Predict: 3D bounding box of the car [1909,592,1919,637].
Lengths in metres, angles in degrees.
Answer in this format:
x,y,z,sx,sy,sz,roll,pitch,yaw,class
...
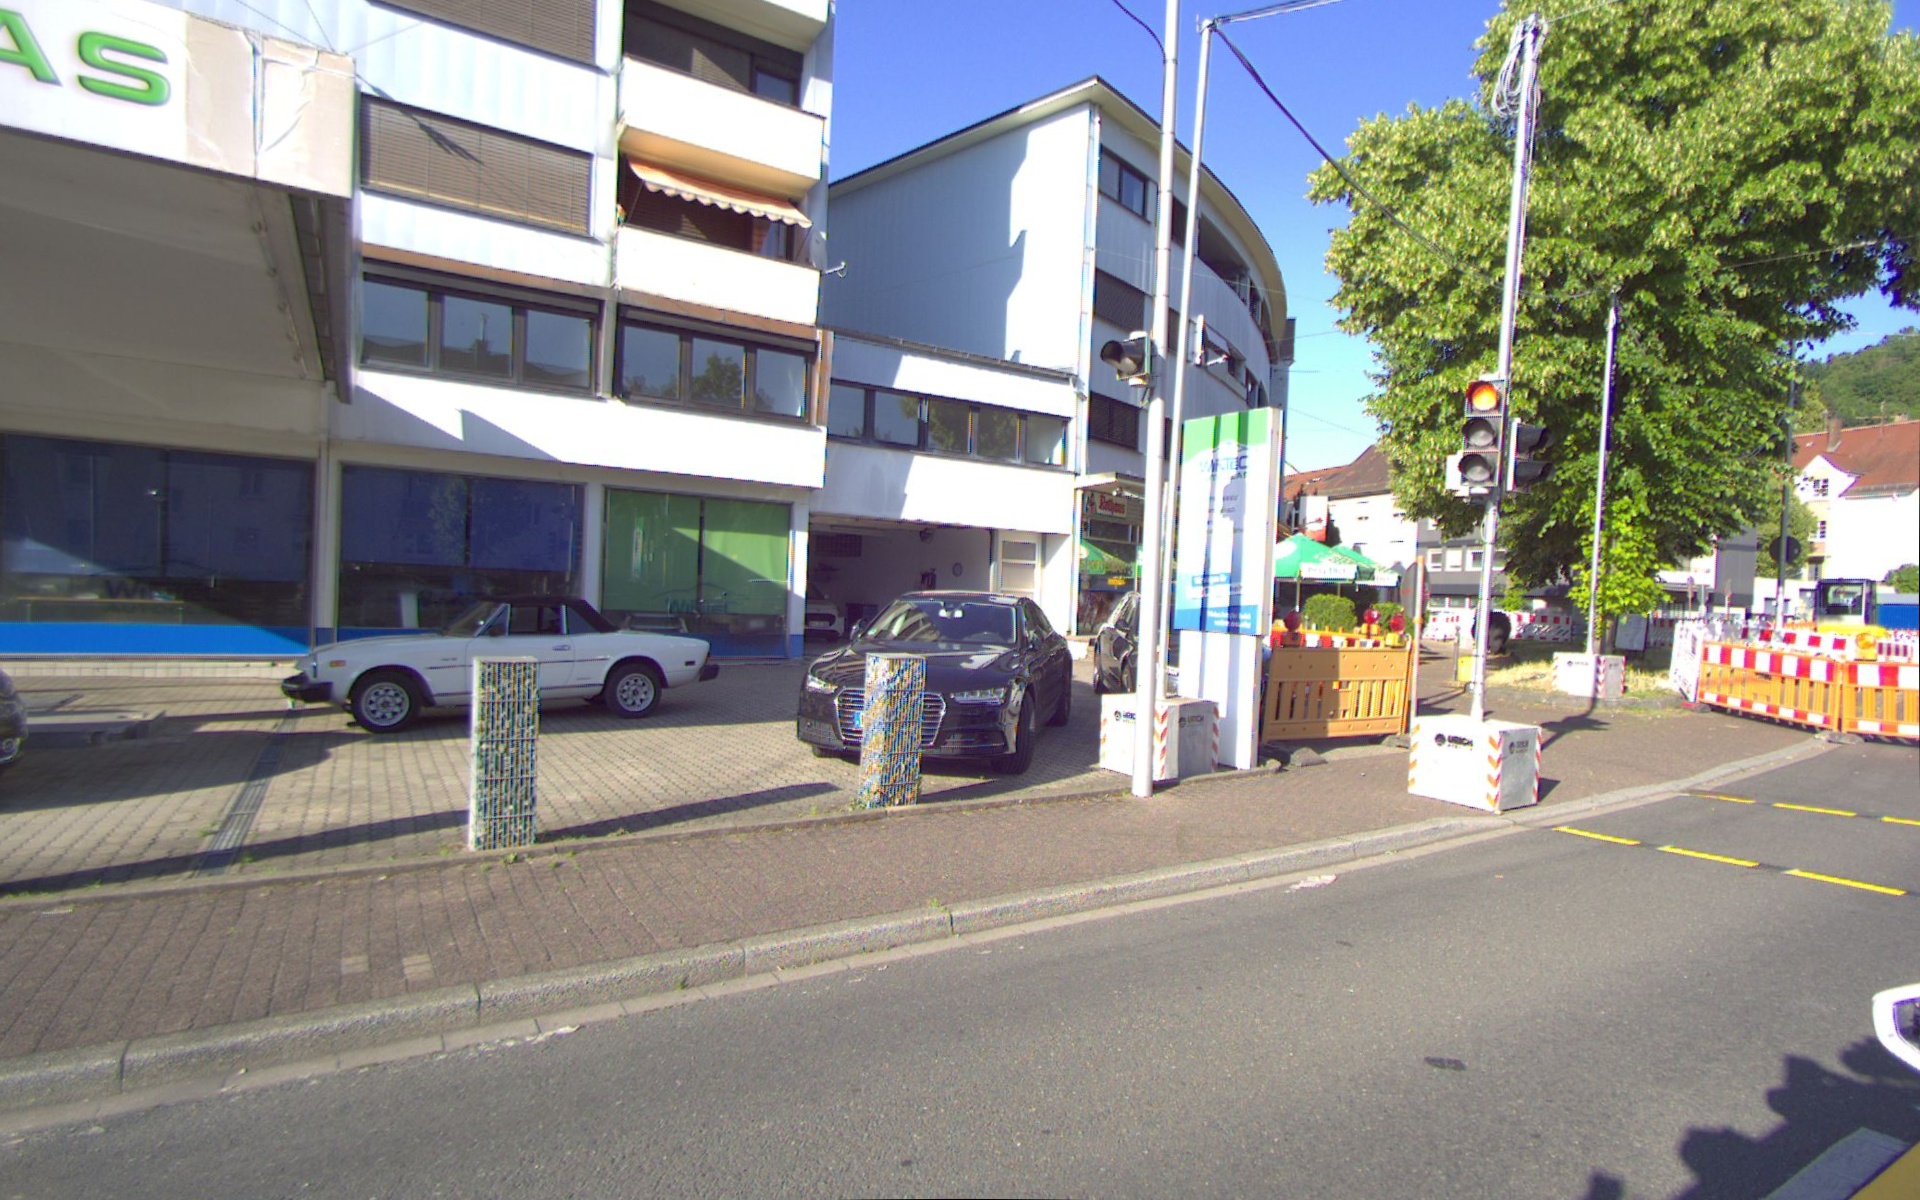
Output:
x,y,z,sx,sy,sz,roll,pitch,yaw,class
49.532,0.787,48.374,6.043,2.149,2.586,2,0,-12,car

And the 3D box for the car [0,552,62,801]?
x,y,z,sx,sy,sz,roll,pitch,yaw,class
-7.477,0.408,5.862,3.305,1.506,1.543,2,0,8,car

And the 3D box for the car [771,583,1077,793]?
x,y,z,sx,sy,sz,roll,pitch,yaw,class
-0.020,0.649,9.574,1.893,1.457,4.692,1,0,11,car

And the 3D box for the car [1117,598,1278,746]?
x,y,z,sx,sy,sz,roll,pitch,yaw,class
2.763,0.745,12.083,1.564,1.457,3.887,1,0,11,car

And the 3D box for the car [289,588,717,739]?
x,y,z,sx,sy,sz,roll,pitch,yaw,class
-4.670,0.591,10.490,3.865,1.315,1.511,1,0,-35,car

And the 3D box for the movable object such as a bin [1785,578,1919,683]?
x,y,z,sx,sy,sz,roll,pitch,yaw,class
21.538,0.700,24.158,3.882,2.356,1.635,1,0,-36,movable object such as a bin

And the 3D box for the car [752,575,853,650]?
x,y,z,sx,sy,sz,roll,pitch,yaw,class
-3.889,0.251,24.384,1.550,1.629,3.734,2,1,-23,car

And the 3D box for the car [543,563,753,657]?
x,y,z,sx,sy,sz,roll,pitch,yaw,class
-6.095,0.216,19.713,3.593,1.696,1.707,2,0,-34,car
